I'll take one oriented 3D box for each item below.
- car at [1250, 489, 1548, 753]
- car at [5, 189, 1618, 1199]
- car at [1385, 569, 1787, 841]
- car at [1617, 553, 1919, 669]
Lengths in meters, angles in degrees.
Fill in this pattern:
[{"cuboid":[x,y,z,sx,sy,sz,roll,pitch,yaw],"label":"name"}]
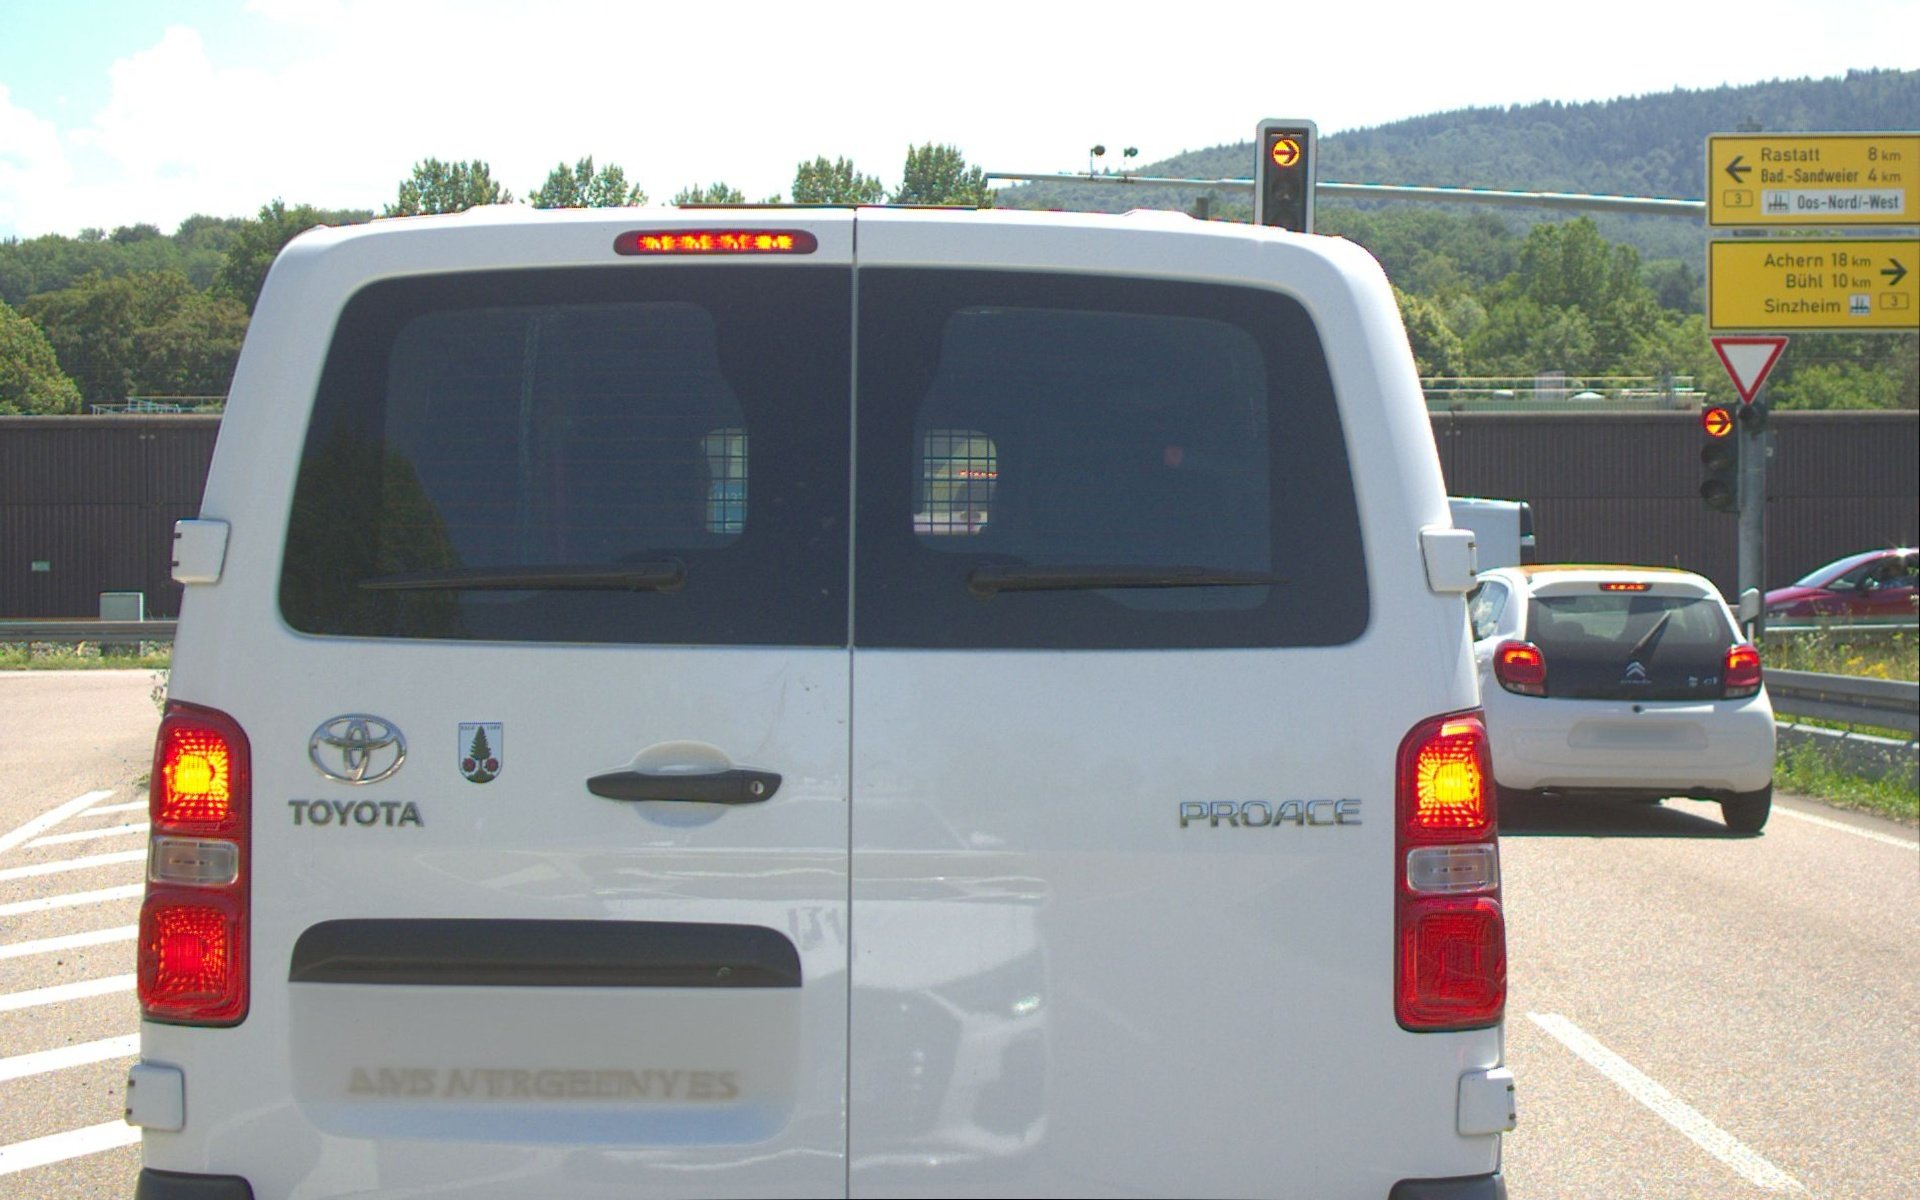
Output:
[{"cuboid":[3.551,0.136,28.647,1.928,1.993,4.837,1,1,1],"label":"car"},{"cuboid":[-0.216,0.448,6.054,1.886,1.880,4.000,1,1,-1],"label":"car"},{"cuboid":[3.552,0.548,20.052,1.656,1.426,3.366,1,1,-1],"label":"car"},{"cuboid":[11.991,0.145,50.263,4.309,1.651,2.000,0,1,-3],"label":"car"}]
